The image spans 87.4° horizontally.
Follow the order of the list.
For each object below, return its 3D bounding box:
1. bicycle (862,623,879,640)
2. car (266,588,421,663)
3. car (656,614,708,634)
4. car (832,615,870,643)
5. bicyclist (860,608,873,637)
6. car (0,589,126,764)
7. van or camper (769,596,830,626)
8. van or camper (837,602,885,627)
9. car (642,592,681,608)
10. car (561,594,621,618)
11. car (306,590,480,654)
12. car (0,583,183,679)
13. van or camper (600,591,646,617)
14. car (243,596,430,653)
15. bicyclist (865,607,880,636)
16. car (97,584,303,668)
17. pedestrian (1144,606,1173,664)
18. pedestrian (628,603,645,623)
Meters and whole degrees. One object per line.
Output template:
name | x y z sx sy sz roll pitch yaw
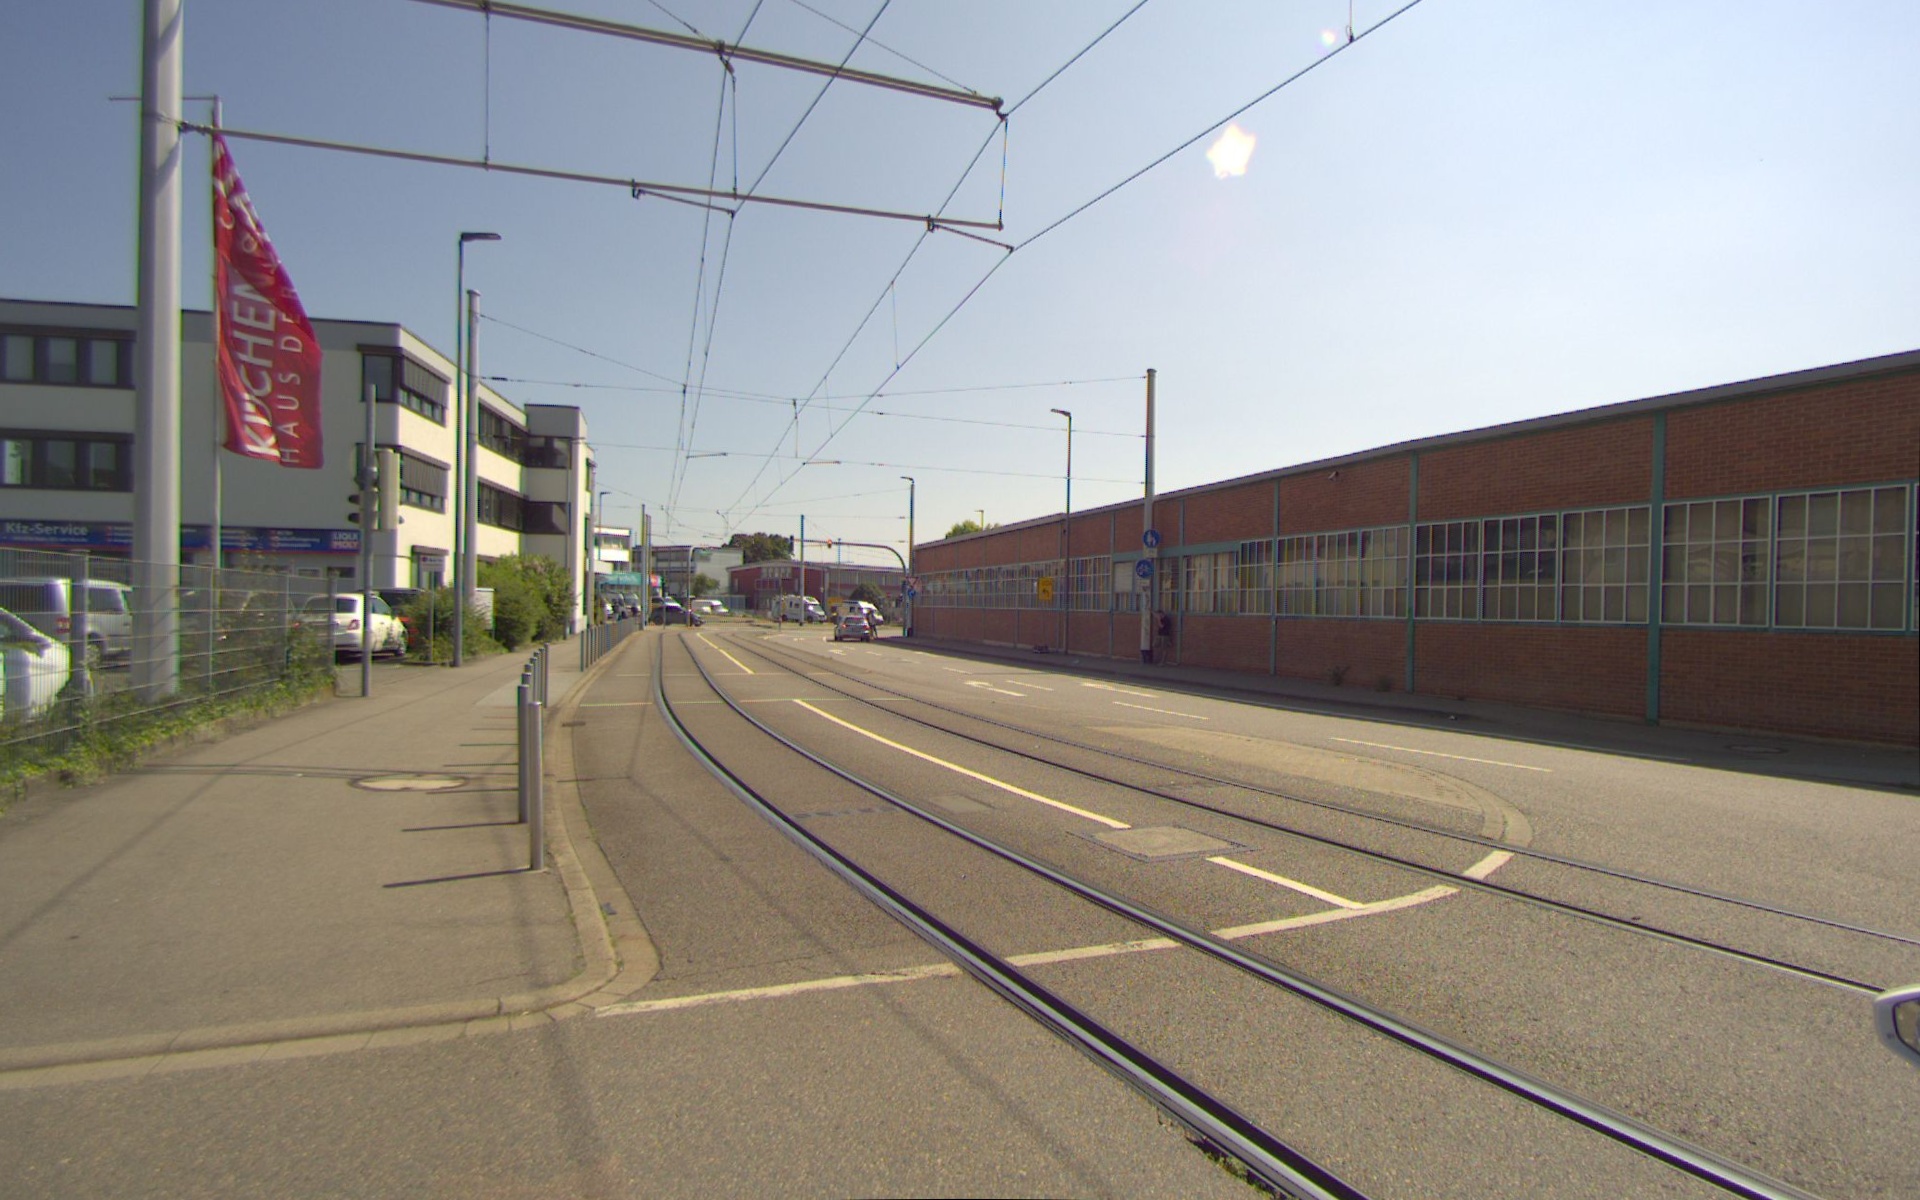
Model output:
bicycle | -5.646 1.961 62.995 0.783 1.035 2.146 2 -1 -12
car | -14.081 0.572 23.194 1.710 1.562 3.829 1 -1 -10
car | -23.149 1.994 83.871 3.926 1.528 1.877 1 -1 -8
car | -6.329 1.655 58.049 1.721 1.478 3.991 1 -1 -12
bicyclist | -6.045 1.458 64.853 0.698 1.834 0.980 2 -1 -14
car | -8.764 0.609 8.098 1.686 1.452 3.940 2 -2 -17
van or camper | -17.896 1.176 111.941 6.865 2.970 2.348 3 2 32
van or camper | -11.319 1.613 114.623 5.301 2.473 2.280 5 3 38
car | -34.486 -0.049 116.065 5.046 1.782 1.935 0 -1 41
car | -27.334 0.434 74.537 3.932 1.539 1.994 2 2 -14
car | -16.123 0.633 28.794 3.933 1.728 1.994 1 -1 -15
car | -18.590 0.607 21.000 1.964 1.808 3.994 1 -1 -9
van or camper | -34.012 0.375 101.311 5.732 2.327 2.025 4 2 44
car | -16.259 0.650 26.387 3.771 1.388 1.743 1 -1 -14
bicyclist | -5.471 1.339 62.926 0.775 1.744 1.144 2 -1 -13
car | -16.004 0.530 21.431 1.823 1.589 3.929 1 -1 -9
pedestrian | 6.191 1.085 31.293 0.675 1.789 0.447 2 2 -17
pedestrian | -24.635 0.997 76.401 1.118 1.474 0.832 1 0 -26
